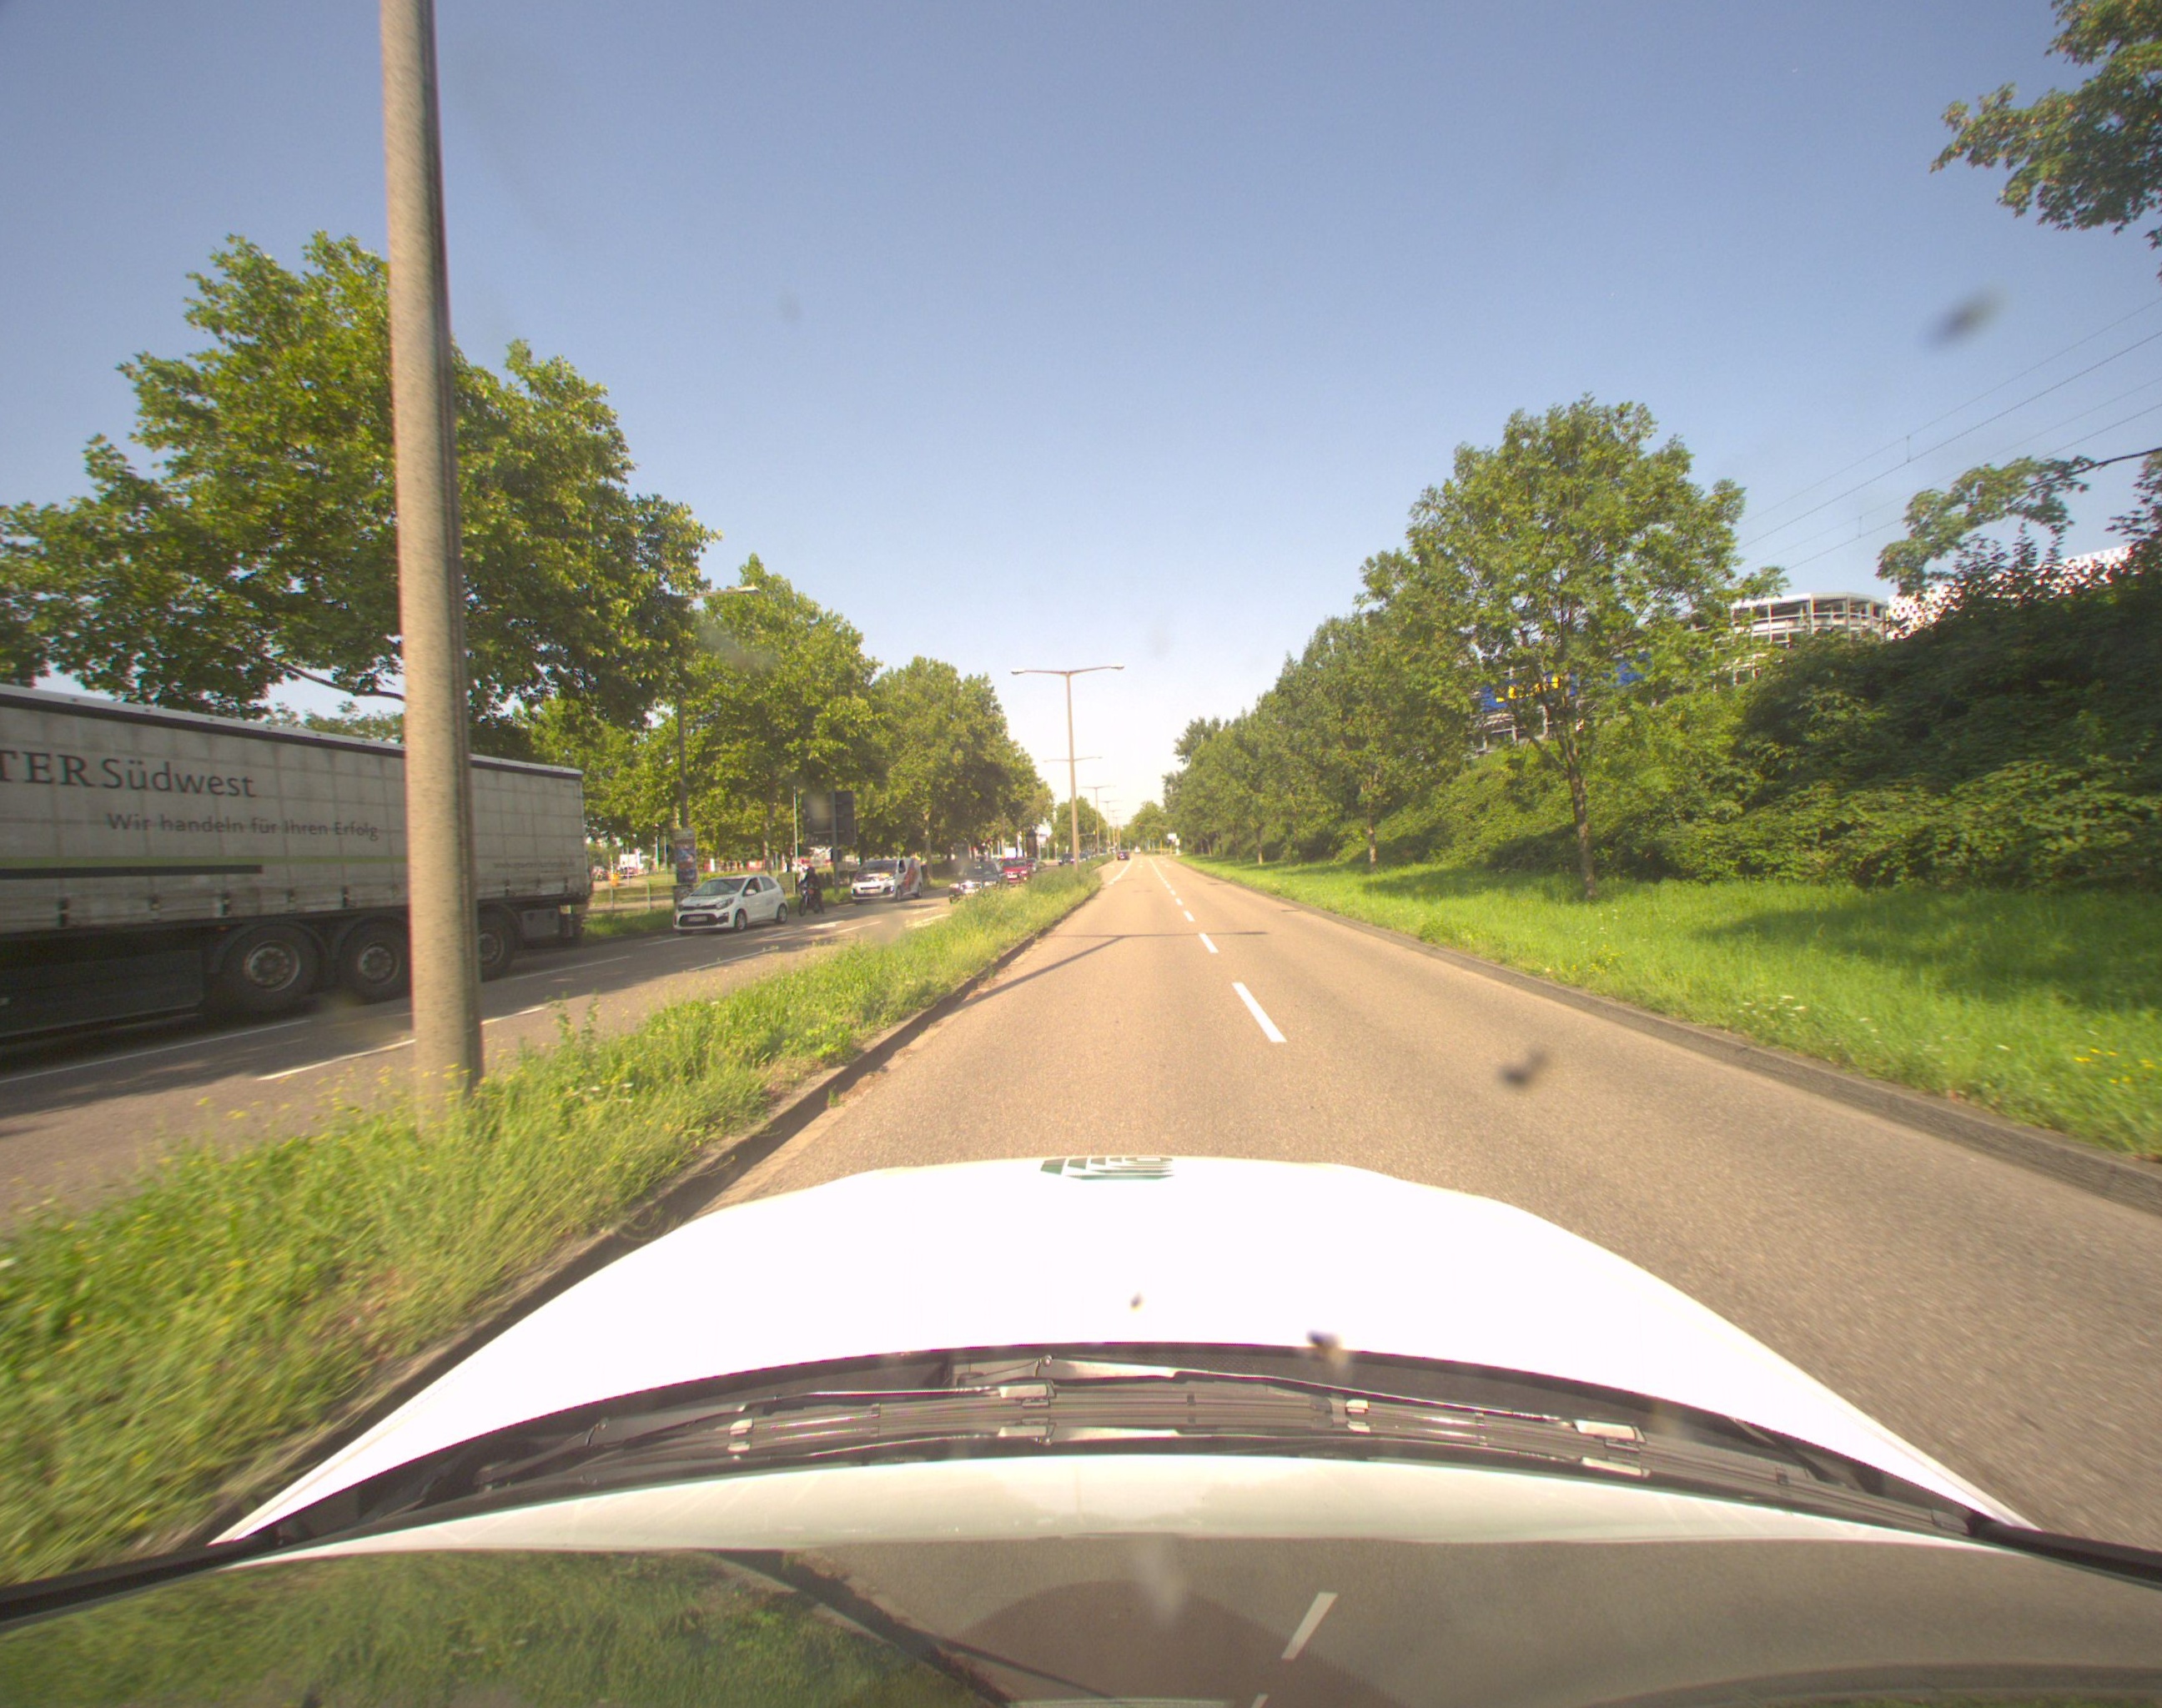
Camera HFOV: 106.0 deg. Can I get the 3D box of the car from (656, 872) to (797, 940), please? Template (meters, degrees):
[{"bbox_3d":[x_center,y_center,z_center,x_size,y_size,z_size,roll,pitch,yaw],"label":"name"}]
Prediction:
[{"bbox_3d":[-9.342,1.317,21.827,1.738,1.479,3.836,-4,0,5],"label":"car"}]

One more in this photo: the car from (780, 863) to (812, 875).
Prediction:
[{"bbox_3d":[-41.506,2.206,118.598,4.017,1.679,1.850,-1,0,-35],"label":"car"}]

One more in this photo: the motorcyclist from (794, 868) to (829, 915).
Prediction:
[{"bbox_3d":[-9.128,1.264,27.616,0.774,1.554,0.924,-2,0,5],"label":"motorcyclist"}]

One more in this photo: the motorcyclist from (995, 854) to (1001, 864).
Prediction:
[{"bbox_3d":[-13.636,0.840,134.318,0.686,1.572,0.676,-1,-1,-32],"label":"motorcyclist"}]

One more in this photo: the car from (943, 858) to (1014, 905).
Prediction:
[{"bbox_3d":[-3.710,0.962,30.179,1.739,1.479,4.590,-4,0,3],"label":"car"}]

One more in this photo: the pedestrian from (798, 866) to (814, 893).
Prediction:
[{"bbox_3d":[-17.202,1.615,50.977,0.614,1.653,0.935,-2,0,4],"label":"pedestrian"}]

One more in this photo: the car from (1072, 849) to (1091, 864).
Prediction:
[{"bbox_3d":[0.105,0.375,107.037,1.984,1.759,4.312,-4,-1,4],"label":"car"}]

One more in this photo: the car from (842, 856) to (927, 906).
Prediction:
[{"bbox_3d":[-8.383,1.085,35.247,1.975,1.858,4.975,-4,0,4],"label":"car"}]

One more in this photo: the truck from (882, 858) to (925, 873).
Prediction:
[{"bbox_3d":[-40.997,2.633,188.378,9.046,2.957,3.479,-3,0,-32],"label":"truck"}]

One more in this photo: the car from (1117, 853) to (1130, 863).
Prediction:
[{"bbox_3d":[6.662,0.658,127.437,1.683,1.486,4.008,-2,0,7],"label":"car"}]

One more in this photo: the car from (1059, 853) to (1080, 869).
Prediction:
[{"bbox_3d":[-1.289,0.785,92.676,1.984,1.759,4.483,-2,0,4],"label":"car"}]

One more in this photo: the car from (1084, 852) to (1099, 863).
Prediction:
[{"bbox_3d":[1.600,0.550,123.508,1.871,1.594,4.112,-1,-1,4],"label":"car"}]

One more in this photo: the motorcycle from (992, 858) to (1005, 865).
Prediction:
[{"bbox_3d":[-13.594,1.264,134.336,2.083,1.136,0.671,-2,-1,-32],"label":"motorcycle"}]

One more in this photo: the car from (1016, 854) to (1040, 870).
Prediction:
[{"bbox_3d":[-5.169,0.752,79.907,1.783,1.482,4.003,-3,0,3],"label":"car"}]

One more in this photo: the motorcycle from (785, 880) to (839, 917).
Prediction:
[{"bbox_3d":[-9.109,1.498,27.718,0.791,1.107,2.471,-2,0,5],"label":"motorcycle"}]

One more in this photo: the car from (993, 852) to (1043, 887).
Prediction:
[{"bbox_3d":[-3.397,0.817,44.823,1.945,1.724,4.592,-3,0,4],"label":"car"}]

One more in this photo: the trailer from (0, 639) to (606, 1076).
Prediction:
[{"bbox_3d":[-10.651,0.102,8.094,2.621,3.821,13.828,-4,0,4],"label":"trailer"}]
